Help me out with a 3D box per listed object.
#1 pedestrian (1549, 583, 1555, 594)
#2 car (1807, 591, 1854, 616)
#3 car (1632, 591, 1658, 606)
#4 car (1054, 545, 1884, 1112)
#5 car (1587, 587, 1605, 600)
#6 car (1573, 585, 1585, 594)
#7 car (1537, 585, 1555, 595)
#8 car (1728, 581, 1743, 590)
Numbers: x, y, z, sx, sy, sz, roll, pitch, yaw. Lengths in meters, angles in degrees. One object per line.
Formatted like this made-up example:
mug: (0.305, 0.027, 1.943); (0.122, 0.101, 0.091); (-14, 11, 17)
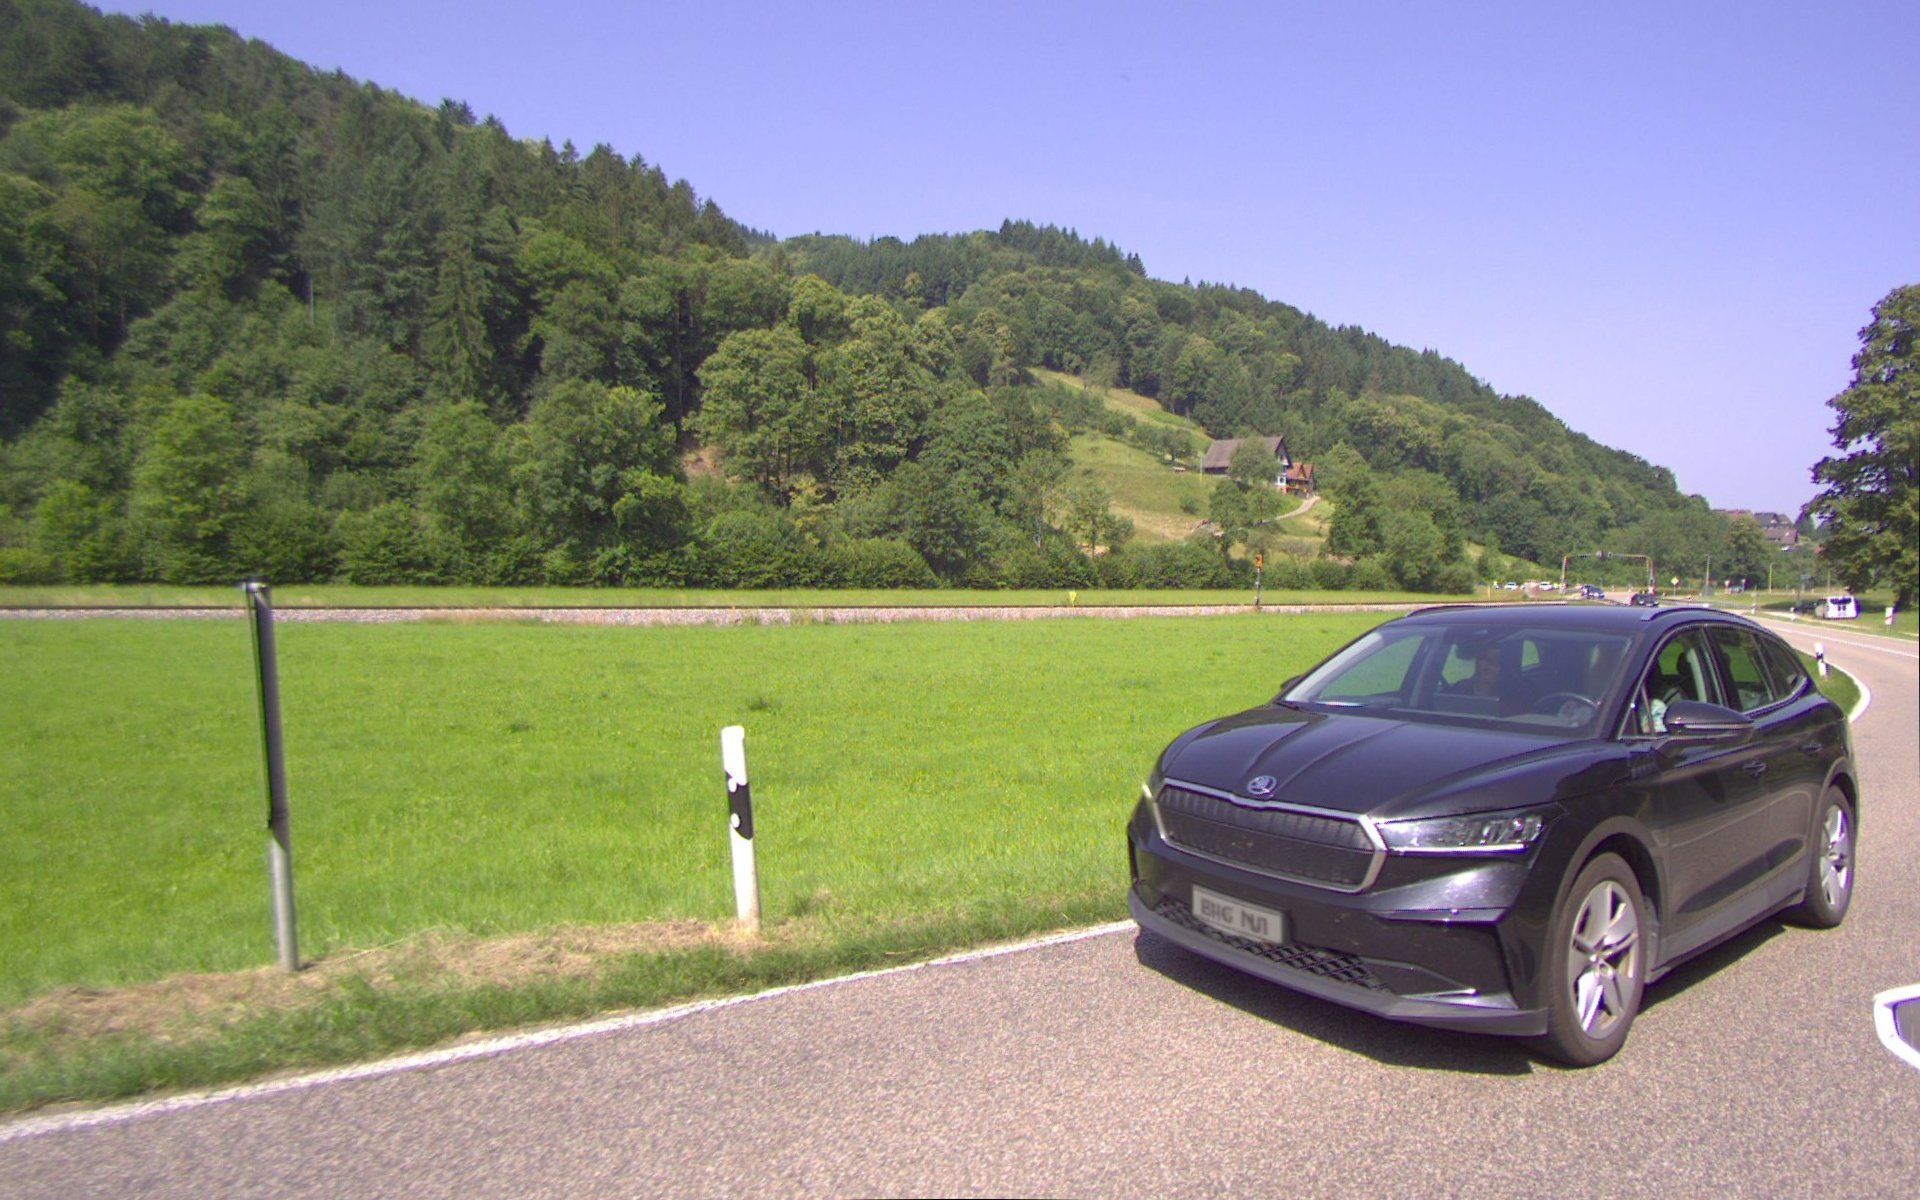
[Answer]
pedestrian: (104.561, -1.980, 177.451); (0.694, 1.867, 0.780); (-2, 2, -44)
car: (72.648, 0.287, 83.896); (1.970, 1.873, 4.859); (-4, -1, 30)
car: (73.675, -0.175, 108.075); (1.888, 1.490, 4.502); (1, 1, 29)
car: (2.776, 0.728, 4.987); (4.552, 1.608, 1.862); (2, -2, -37)
car: (86.511, -0.903, 136.660); (1.838, 1.645, 4.501); (0, 1, 30)
car: (111.054, -1.906, 180.243); (1.799, 1.521, 4.268); (1, 2, 30)
car: (107.867, -1.835, 184.792); (1.851, 1.806, 4.744); (3, 3, 43)
car: (158.078, -2.940, 204.729); (3.970, 1.639, 1.787); (3, 0, -42)
